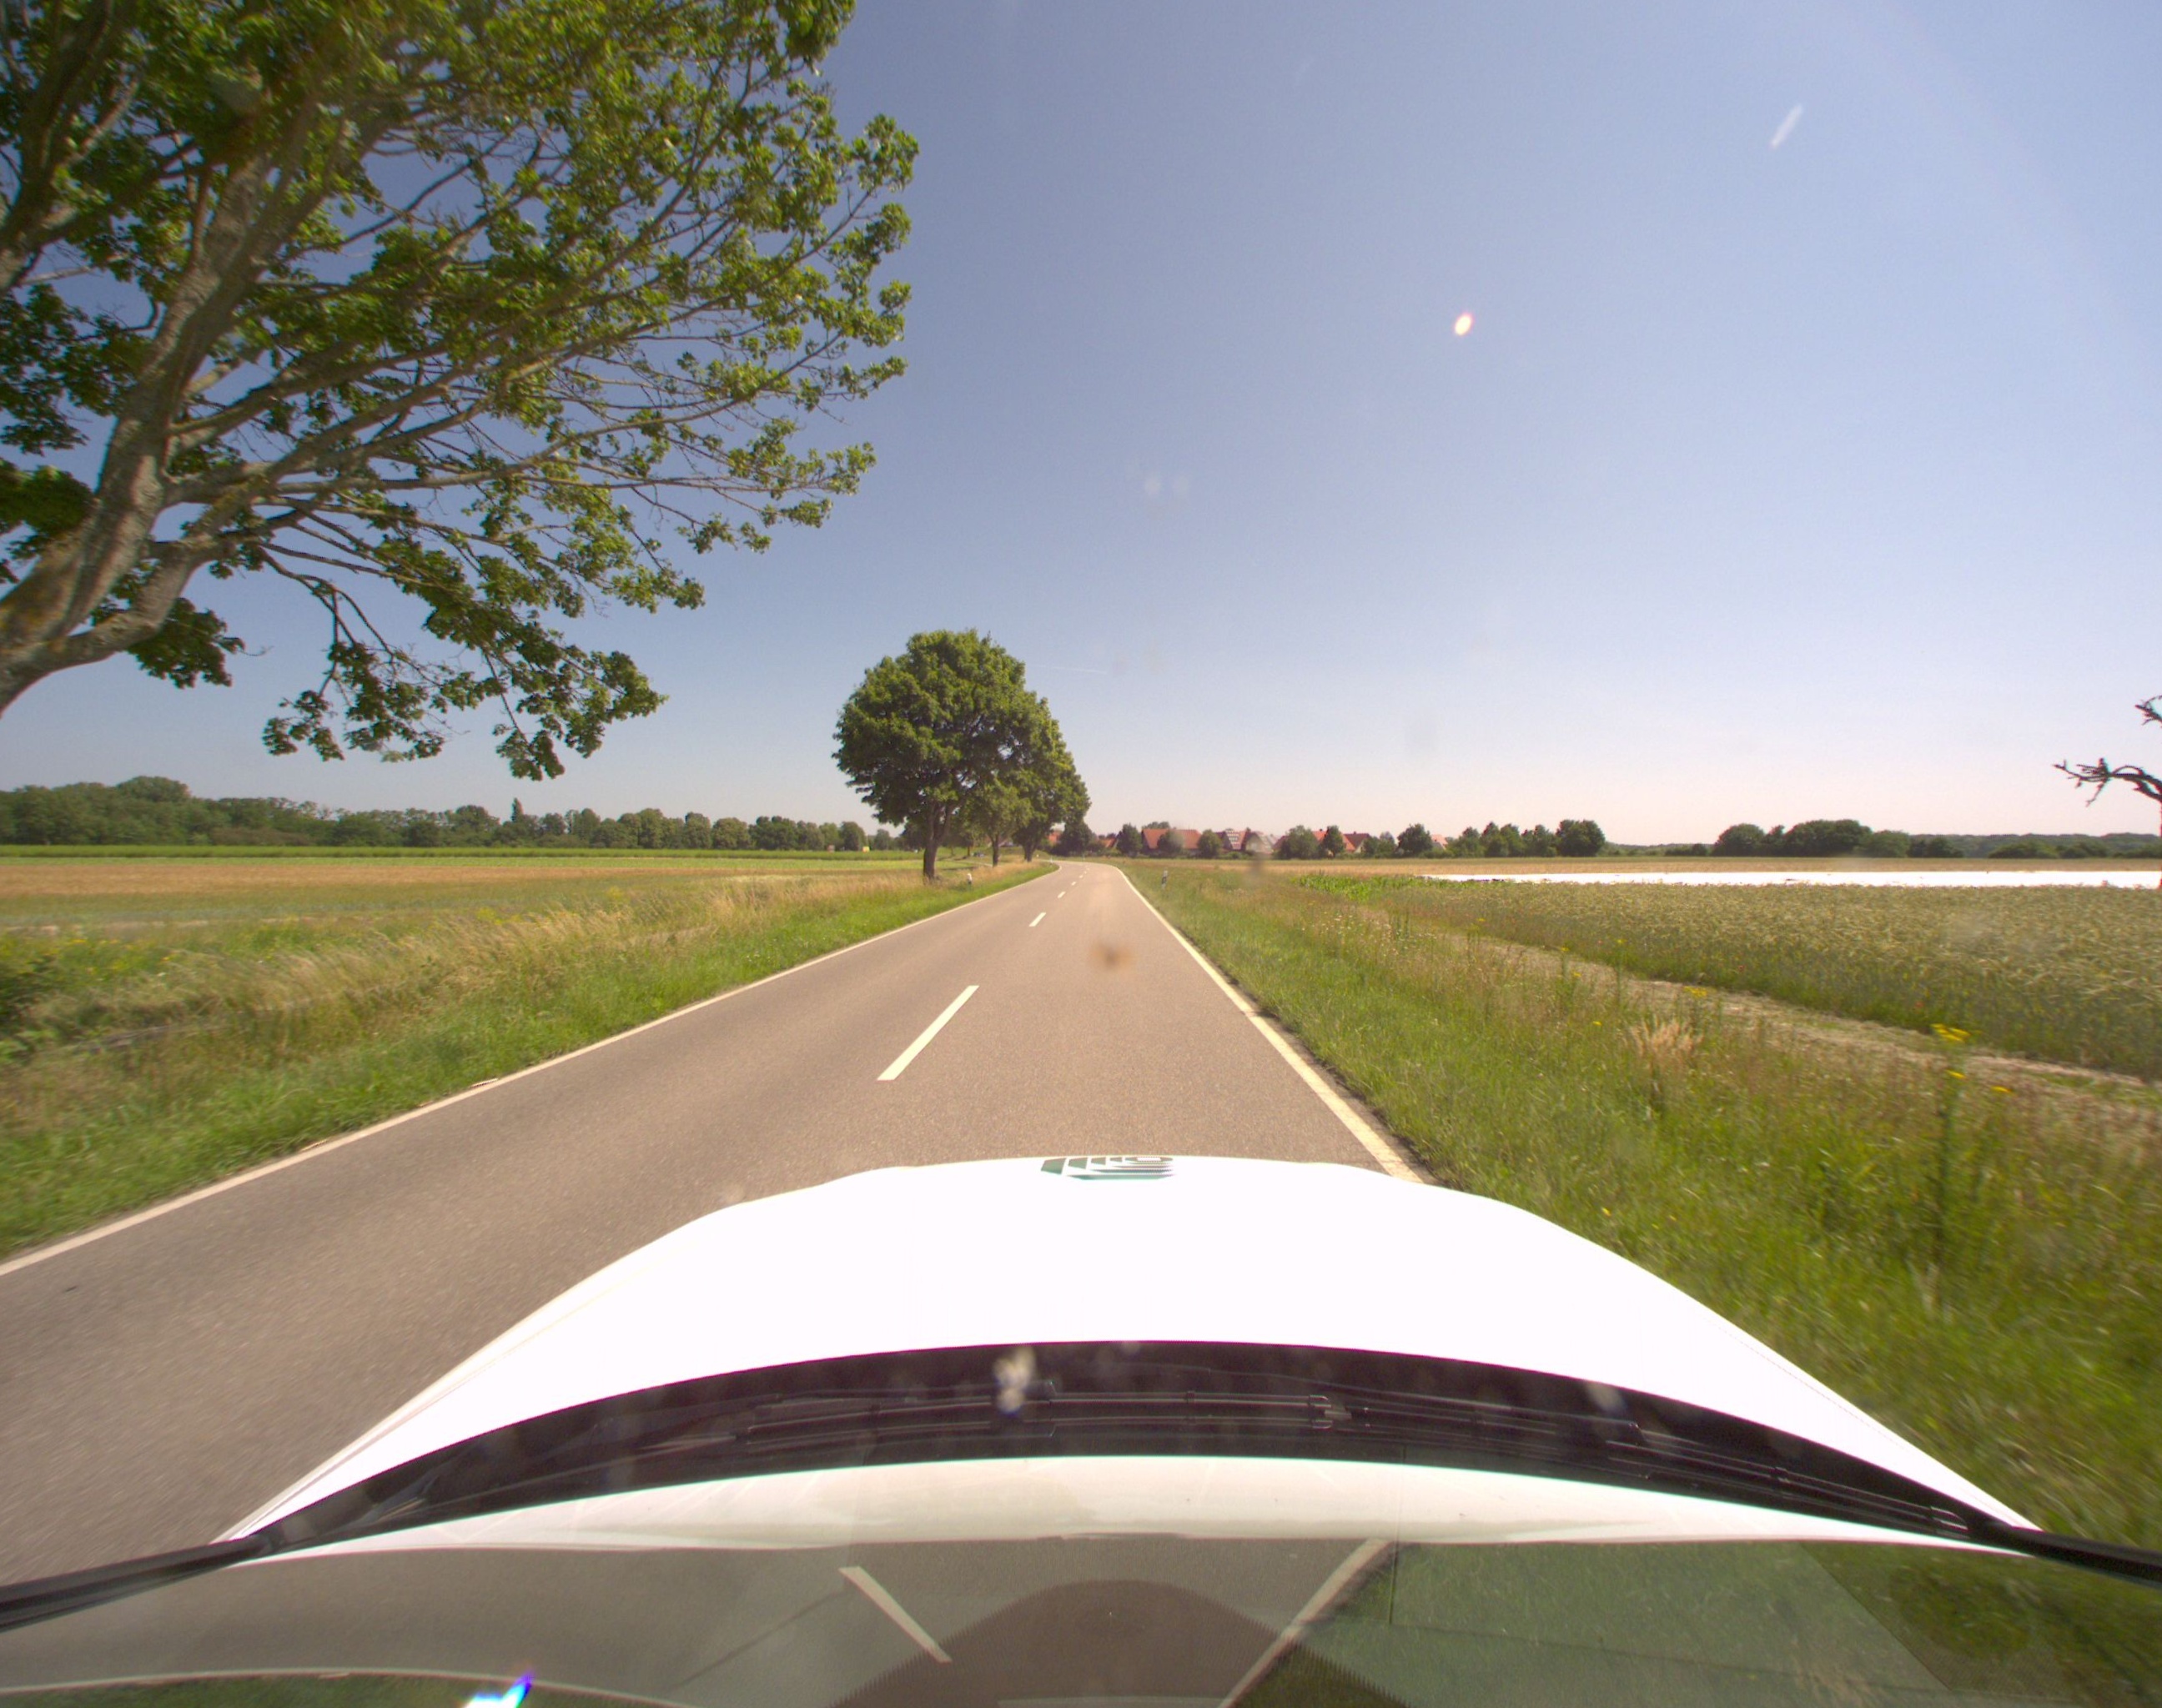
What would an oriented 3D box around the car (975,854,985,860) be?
[{"bbox_3d":[-24.559,0.679,198.556,1.648,1.429,4.154,-3,0,-18],"label":"car"}]
